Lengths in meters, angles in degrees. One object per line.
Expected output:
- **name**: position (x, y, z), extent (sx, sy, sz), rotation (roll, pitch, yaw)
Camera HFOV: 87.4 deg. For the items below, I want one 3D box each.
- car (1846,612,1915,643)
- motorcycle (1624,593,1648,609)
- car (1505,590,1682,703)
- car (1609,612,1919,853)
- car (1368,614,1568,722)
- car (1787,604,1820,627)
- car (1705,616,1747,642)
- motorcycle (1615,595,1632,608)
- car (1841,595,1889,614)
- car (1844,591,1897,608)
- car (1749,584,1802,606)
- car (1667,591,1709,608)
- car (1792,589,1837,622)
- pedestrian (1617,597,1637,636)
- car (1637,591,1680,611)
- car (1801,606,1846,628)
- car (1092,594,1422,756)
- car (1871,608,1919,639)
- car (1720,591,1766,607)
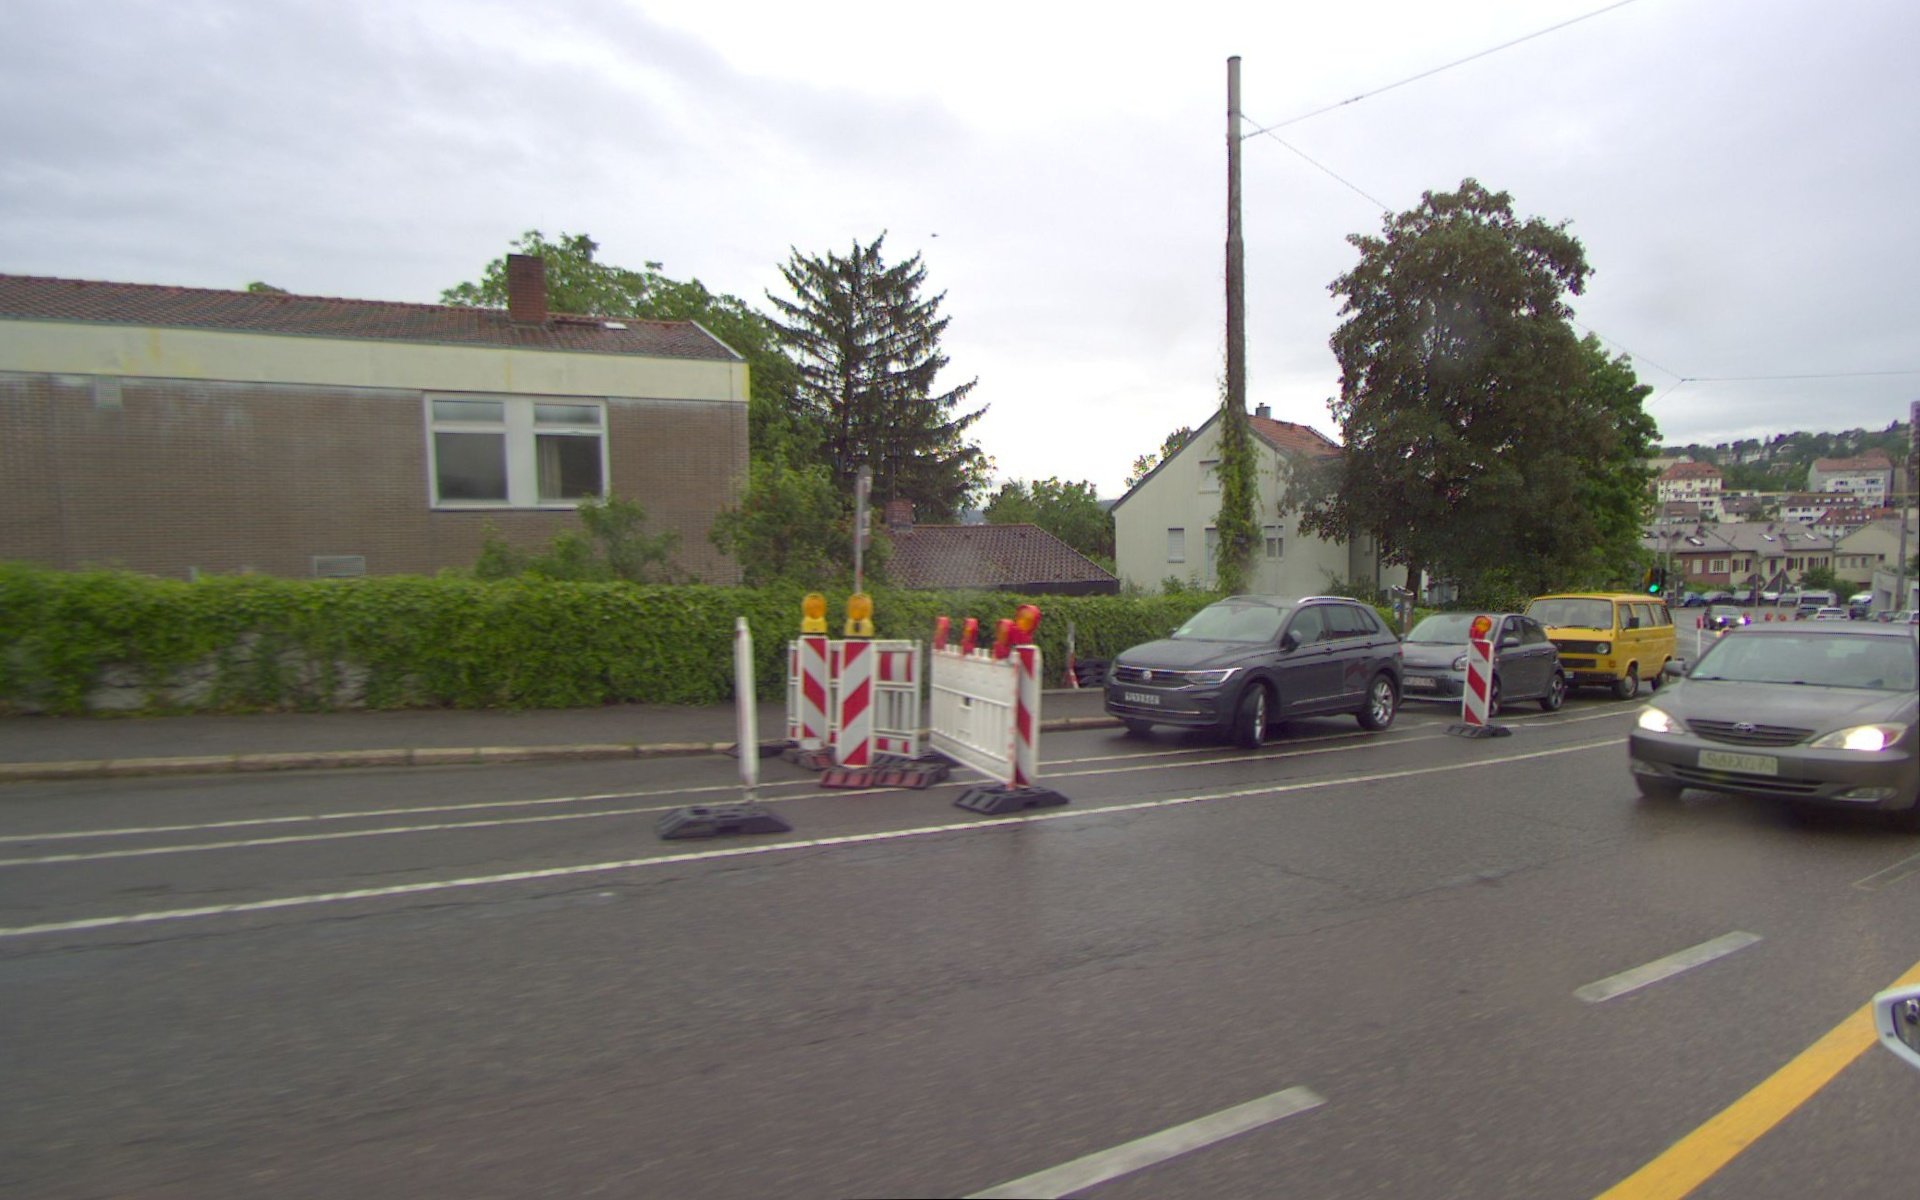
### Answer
- **car**: position (49.769, 1.469, 54.366), extent (1.687, 1.533, 3.995), rotation (0, 0, 26)
- **motorcycle**: position (60.683, 0.063, 90.202), extent (0.602, 1.321, 1.803), rotation (1, 5, -10)
- **car**: position (12.458, 0.853, 19.638), extent (4.543, 1.953, 1.787), rotation (1, -1, -42)
- **car**: position (7.470, 0.880, 8.613), extent (4.629, 1.510, 1.776), rotation (0, 1, -38)
- **car**: position (7.974, 0.995, 15.667), extent (3.436, 1.473, 1.561), rotation (2, -1, -40)
- **car**: position (64.003, 1.154, 76.202), extent (1.734, 1.516, 4.160), rotation (2, 2, 42)
- **car**: position (47.147, 1.760, 61.902), extent (1.675, 1.480, 4.671), rotation (0, 0, 32)
- **motorcycle**: position (58.552, 0.116, 88.598), extent (1.900, 1.155, 0.507), rotation (-2, 2, -32)
- **car**: position (80.046, 0.399, 88.835), extent (4.145, 1.503, 1.672), rotation (0, 4, -26)
- **car**: position (97.641, -0.070, 107.709), extent (4.599, 1.653, 1.929), rotation (1, 4, -15)
- **car**: position (84.489, -0.500, 104.071), extent (4.943, 2.107, 1.845), rotation (0, 4, -20)
- **car**: position (69.677, -0.062, 96.071), extent (4.423, 1.424, 1.689), rotation (-1, 6, -33)
- **car**: position (68.092, 0.418, 79.993), extent (5.580, 2.576, 2.079), rotation (0, 1, -43)
- **pedestrian**: position (32.473, 0.802, 48.912), extent (0.697, 1.841, 1.145), rotation (2, 2, 29)
- **car**: position (65.111, 0.053, 93.625), extent (4.346, 1.598, 1.907), rotation (-2, 6, -37)
- **car**: position (57.045, 1.100, 66.405), extent (1.681, 1.433, 4.031), rotation (1, 0, 33)
- **car**: position (3.763, 0.795, 12.304), extent (4.426, 1.629, 1.705), rotation (1, 0, -40)
- **car**: position (47.293, 1.146, 50.120), extent (1.755, 1.439, 4.422), rotation (0, 0, 29)
- **car**: position (79.255, -0.076, 101.686), extent (4.461, 1.497, 1.802), rotation (0, 4, -26)
